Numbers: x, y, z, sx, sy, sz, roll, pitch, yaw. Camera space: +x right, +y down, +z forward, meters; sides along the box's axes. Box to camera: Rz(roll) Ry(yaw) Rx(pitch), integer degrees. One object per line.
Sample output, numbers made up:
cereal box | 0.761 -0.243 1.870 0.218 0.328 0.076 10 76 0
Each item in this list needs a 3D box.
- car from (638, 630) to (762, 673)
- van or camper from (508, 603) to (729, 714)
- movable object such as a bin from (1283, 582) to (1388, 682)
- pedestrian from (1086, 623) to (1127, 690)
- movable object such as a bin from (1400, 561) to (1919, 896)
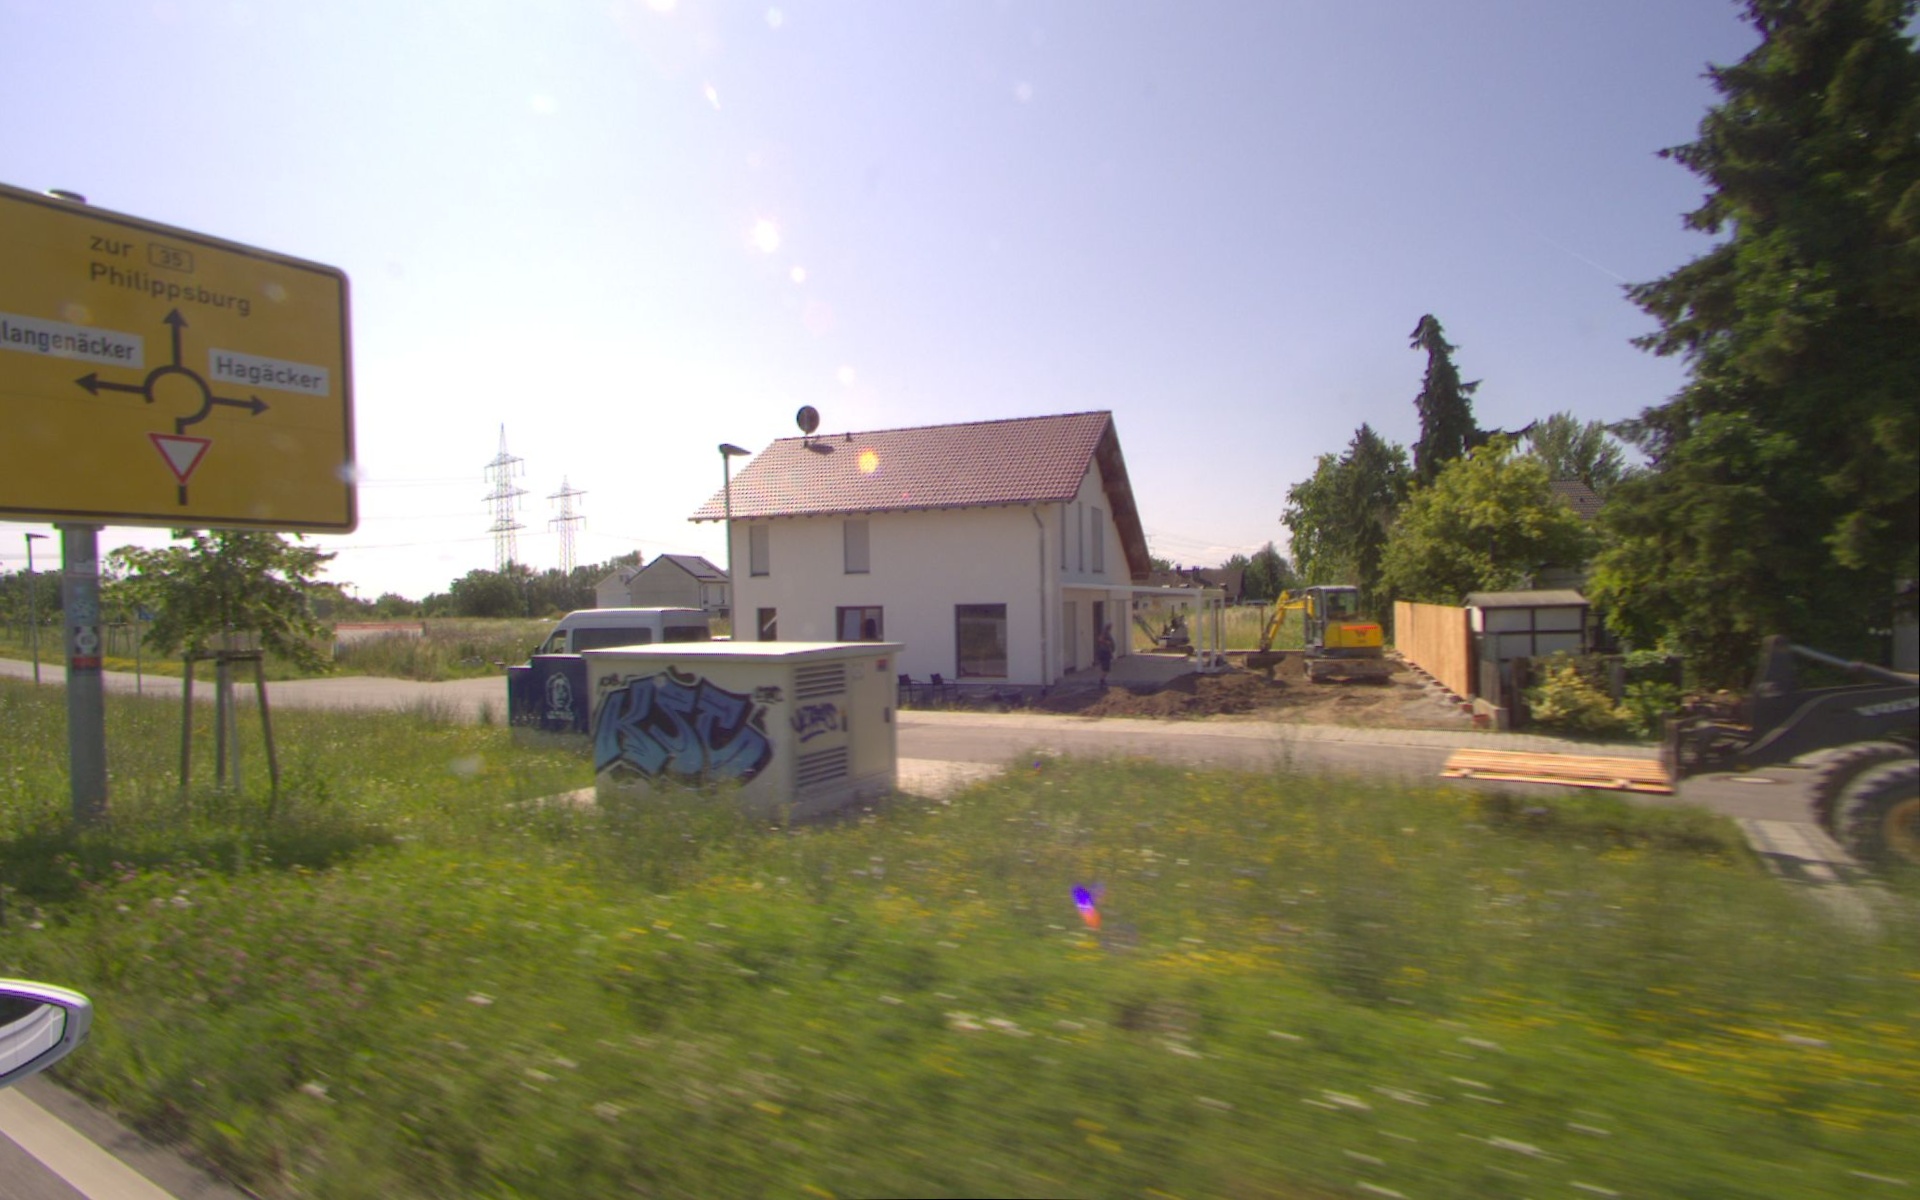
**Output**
car | -9.860 1.950 38.017 4.407 1.577 1.562 -1 -2 18
van or camper | -9.009 1.465 26.217 5.943 2.634 2.169 -1 -1 31
movable object such as a bin | 10.208 0.856 27.441 1.752 2.591 2.879 0 0 -1
pedestrian | 3.864 1.486 26.493 0.704 1.688 0.712 -5 3 -29
movable object such as a bin | 7.625 0.979 8.523 6.847 2.495 2.311 -1 -1 33
